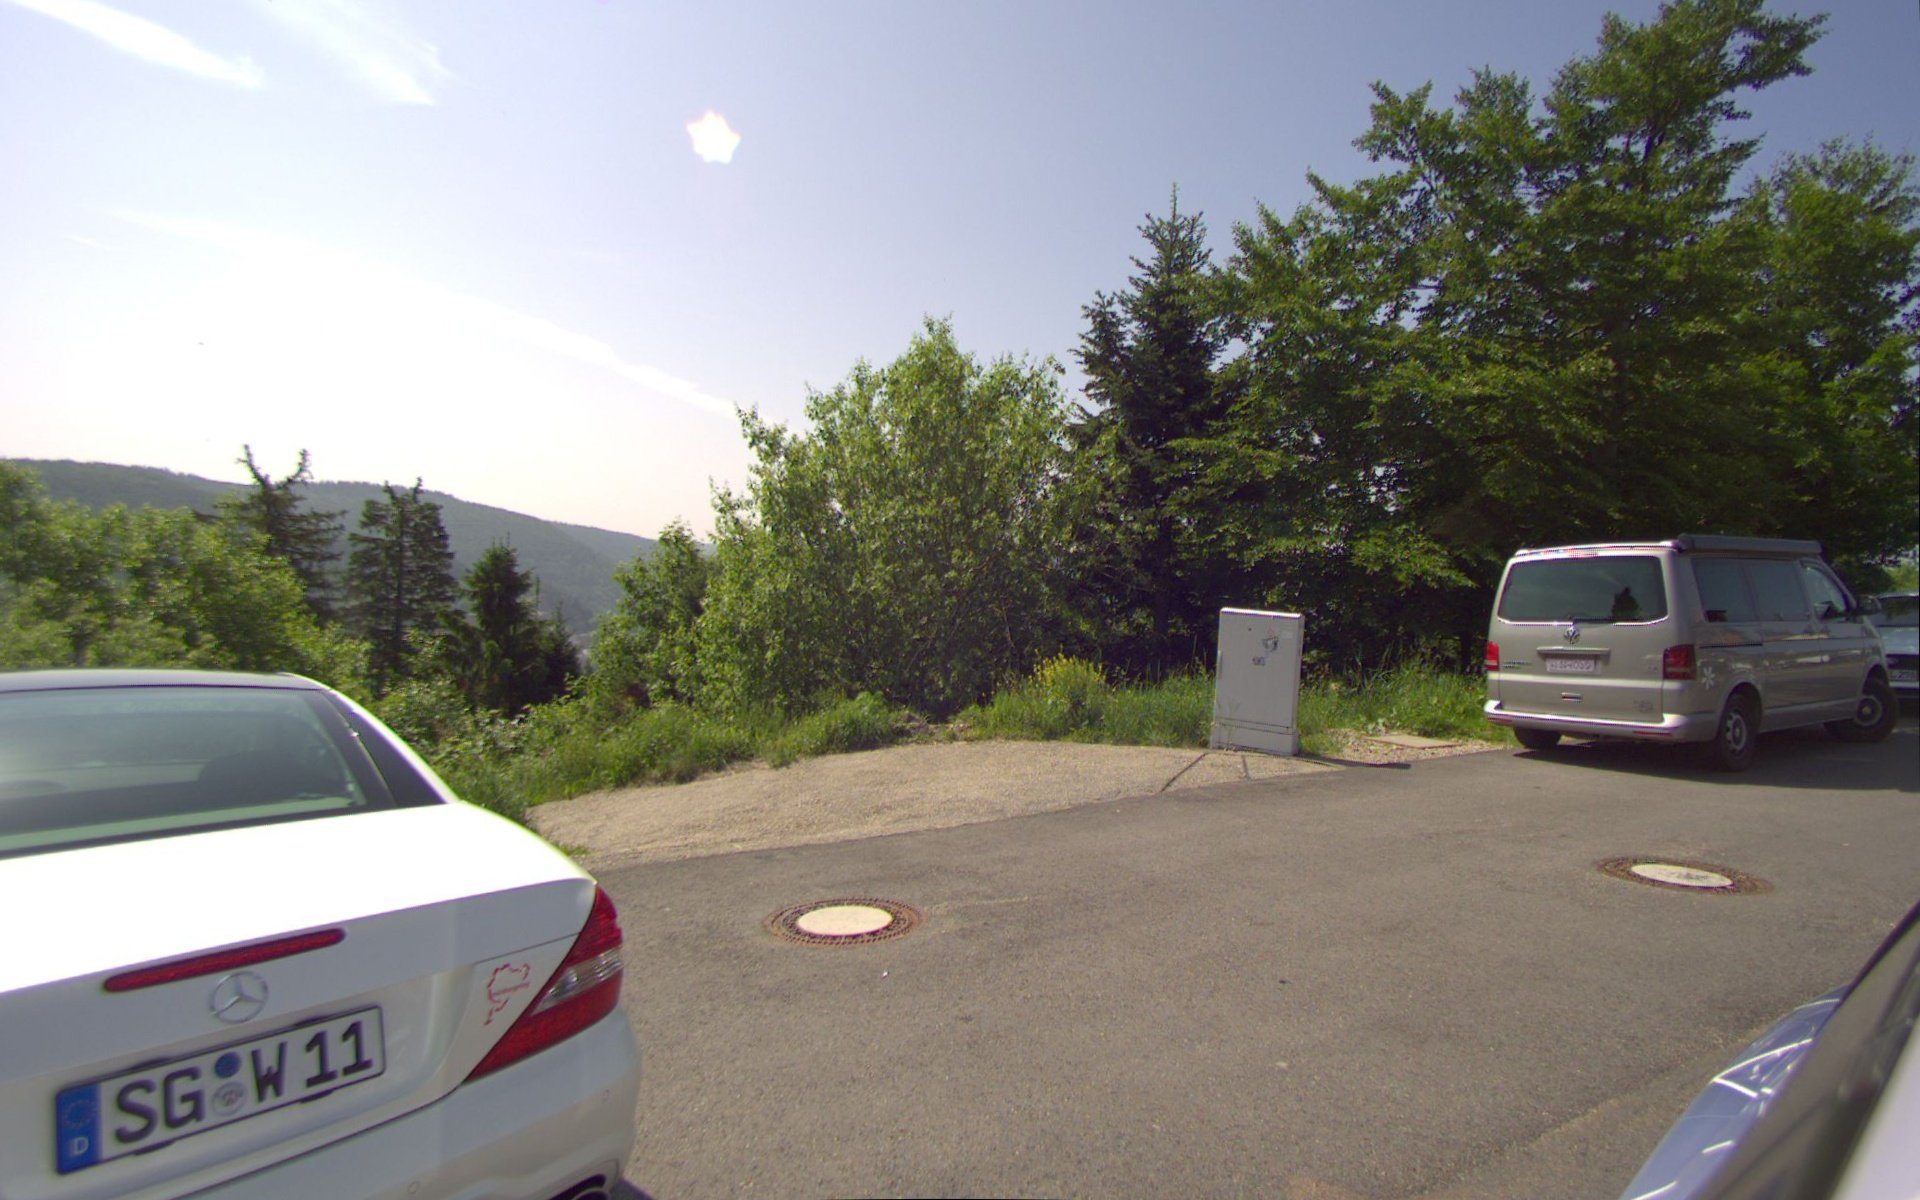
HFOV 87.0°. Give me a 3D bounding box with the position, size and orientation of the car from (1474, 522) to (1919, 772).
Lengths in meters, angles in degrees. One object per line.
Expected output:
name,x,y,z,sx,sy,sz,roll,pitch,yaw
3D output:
car,7.289,0.377,9.883,4.516,1.960,1.865,0,-1,-30

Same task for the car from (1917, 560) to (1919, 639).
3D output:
car,25.263,-0.020,23.336,4.436,1.950,1.851,-1,0,38

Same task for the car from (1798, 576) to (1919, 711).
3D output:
car,12.677,0.494,13.019,3.923,1.567,1.877,0,0,-34

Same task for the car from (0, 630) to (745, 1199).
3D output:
car,-2.628,0.771,2.817,4.394,1.312,1.729,-1,-1,42
